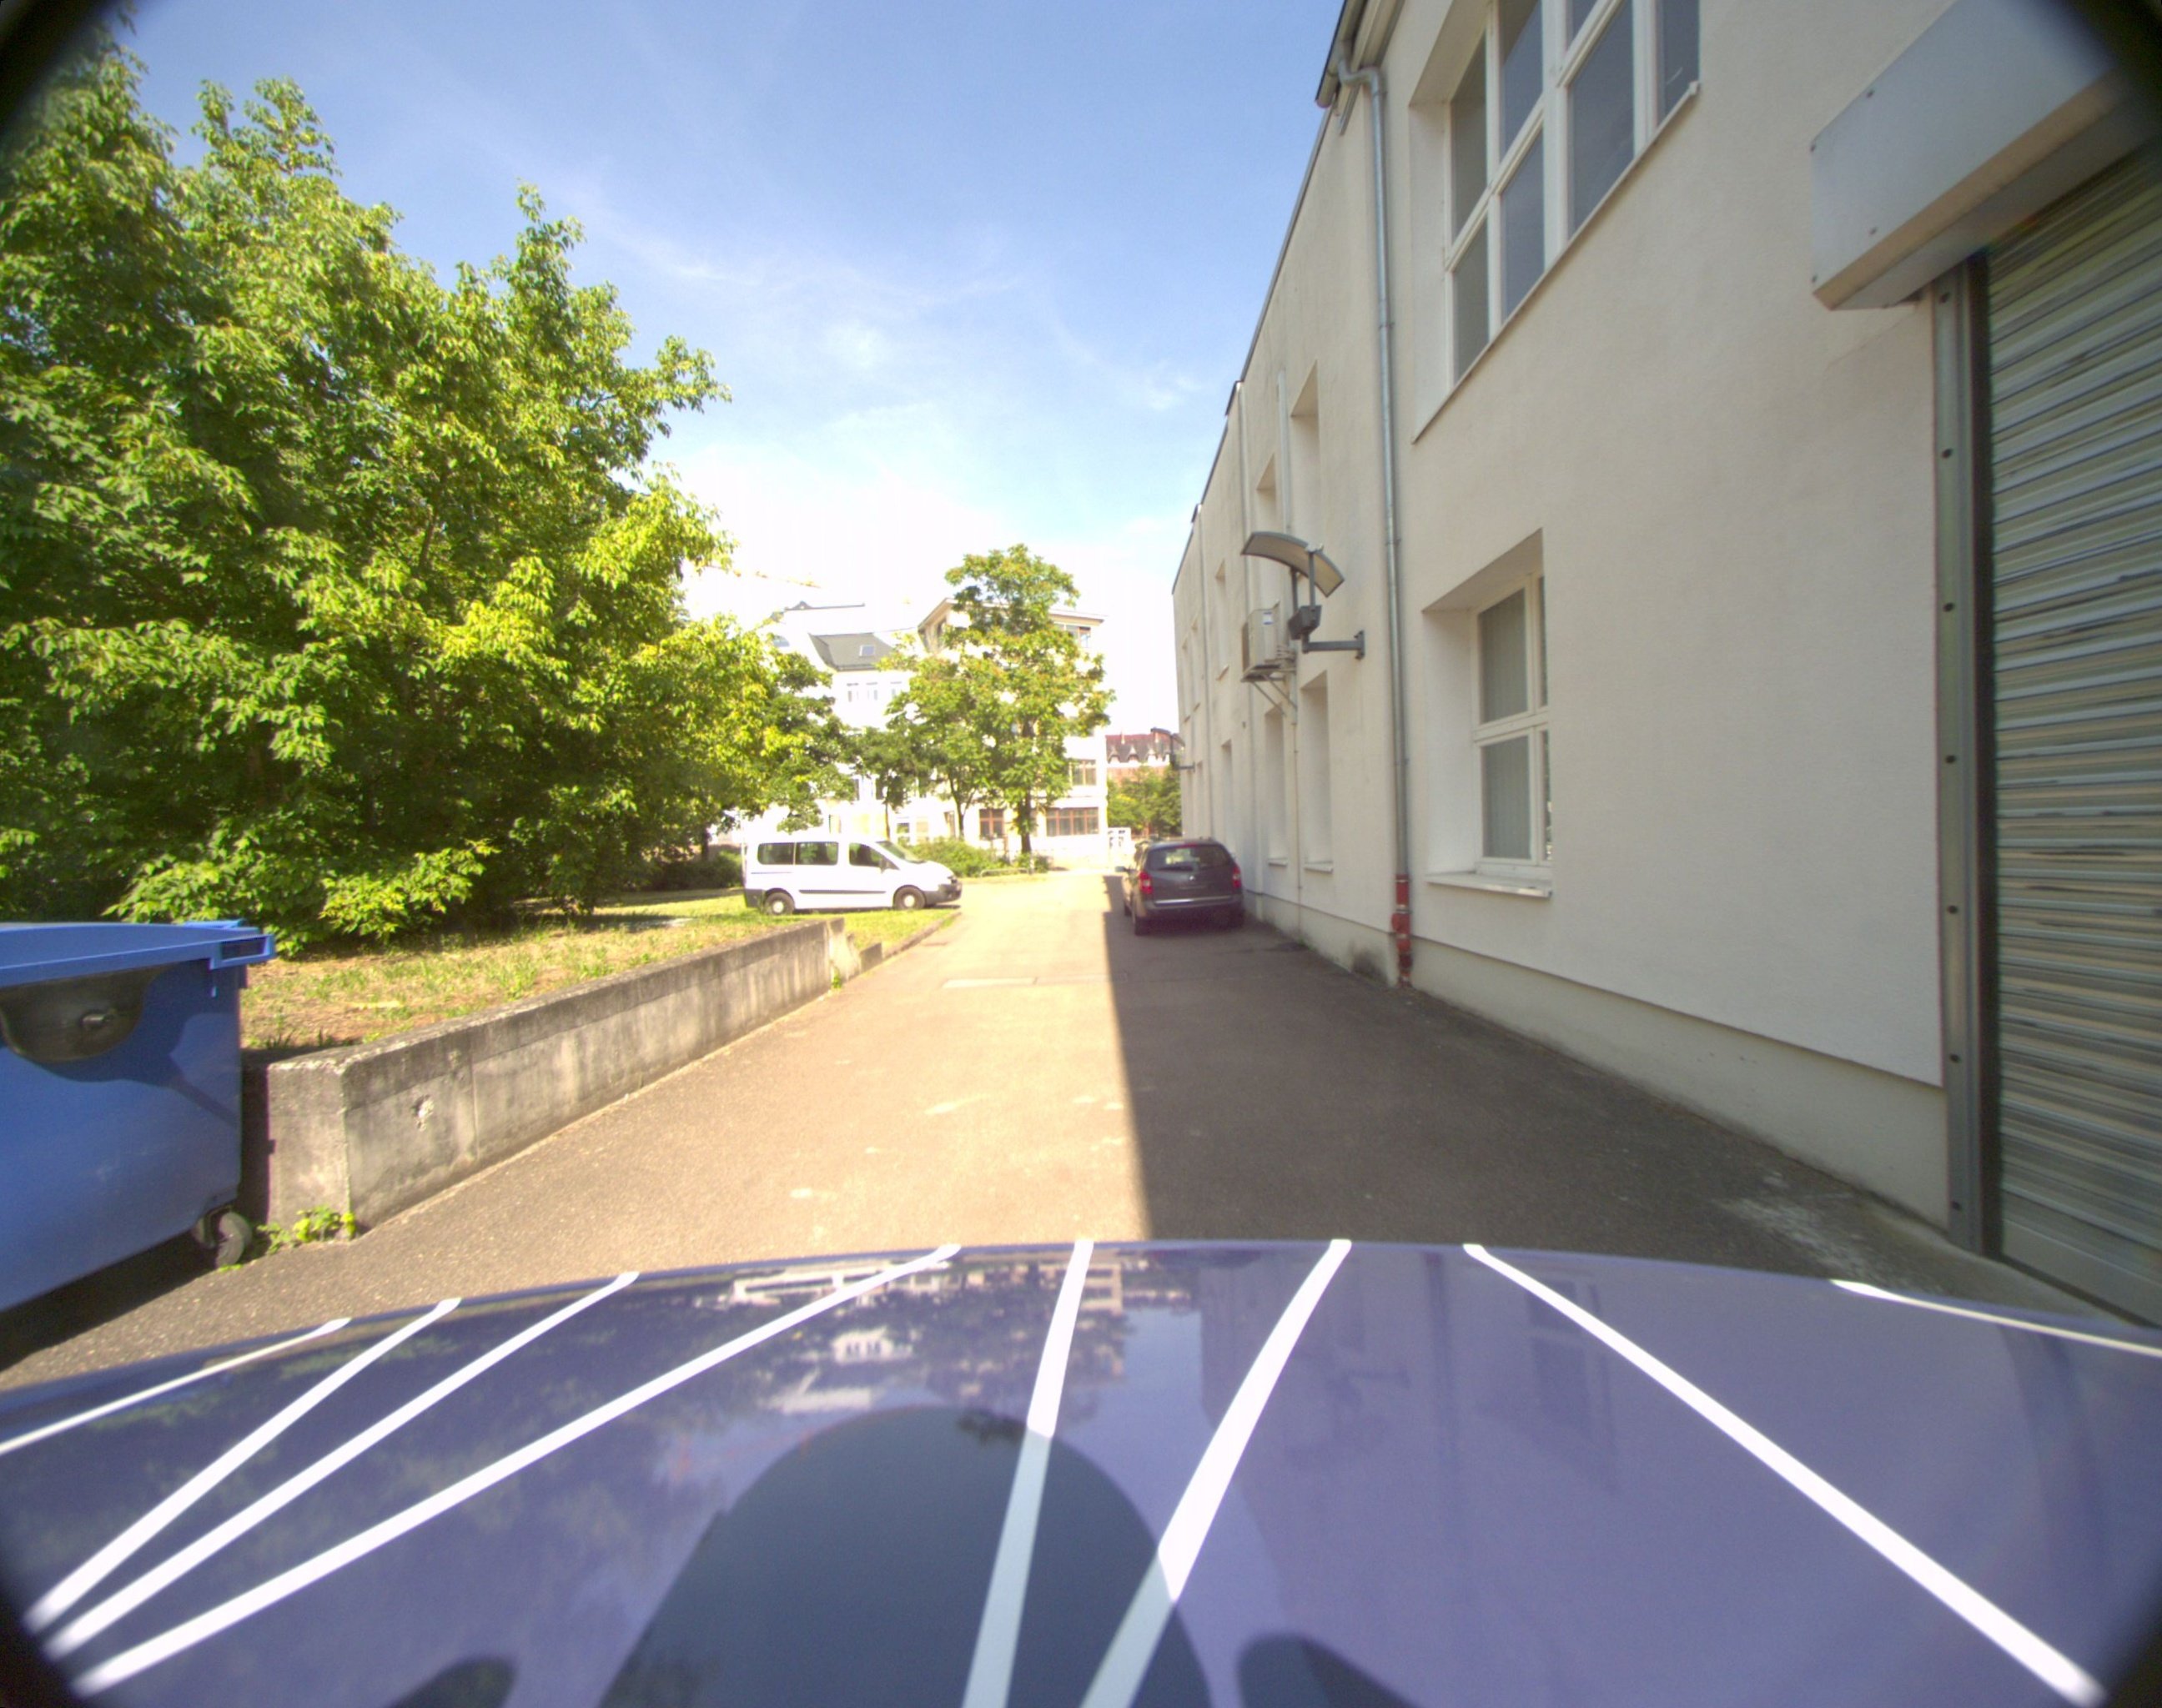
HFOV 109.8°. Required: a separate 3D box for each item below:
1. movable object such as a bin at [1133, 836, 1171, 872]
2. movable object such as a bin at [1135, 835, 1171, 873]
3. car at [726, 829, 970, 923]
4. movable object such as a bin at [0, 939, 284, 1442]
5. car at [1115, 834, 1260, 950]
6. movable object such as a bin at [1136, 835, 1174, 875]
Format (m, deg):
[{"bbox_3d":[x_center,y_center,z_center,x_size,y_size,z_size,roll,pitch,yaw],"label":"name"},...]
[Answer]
[{"bbox_3d":[2.946,-0.026,31.634,1.248,1.423,1.222,-2,2,-10],"label":"movable object such as a bin"},{"bbox_3d":[2.854,-0.007,30.248,1.247,1.423,1.365,-2,2,0],"label":"movable object such as a bin"},{"bbox_3d":[-5.366,0.484,17.985,5.035,1.922,2.000,-2,1,2],"label":"car"},{"bbox_3d":[-3.687,1.005,2.310,1.250,1.312,1.142,0,3,3],"label":"movable object such as a bin"},{"bbox_3d":[1.655,0.497,13.243,1.841,1.434,4.427,-5,3,1],"label":"car"},{"bbox_3d":[2.784,0.022,28.738,1.247,1.423,1.349,-2,2,0],"label":"movable object such as a bin"}]
